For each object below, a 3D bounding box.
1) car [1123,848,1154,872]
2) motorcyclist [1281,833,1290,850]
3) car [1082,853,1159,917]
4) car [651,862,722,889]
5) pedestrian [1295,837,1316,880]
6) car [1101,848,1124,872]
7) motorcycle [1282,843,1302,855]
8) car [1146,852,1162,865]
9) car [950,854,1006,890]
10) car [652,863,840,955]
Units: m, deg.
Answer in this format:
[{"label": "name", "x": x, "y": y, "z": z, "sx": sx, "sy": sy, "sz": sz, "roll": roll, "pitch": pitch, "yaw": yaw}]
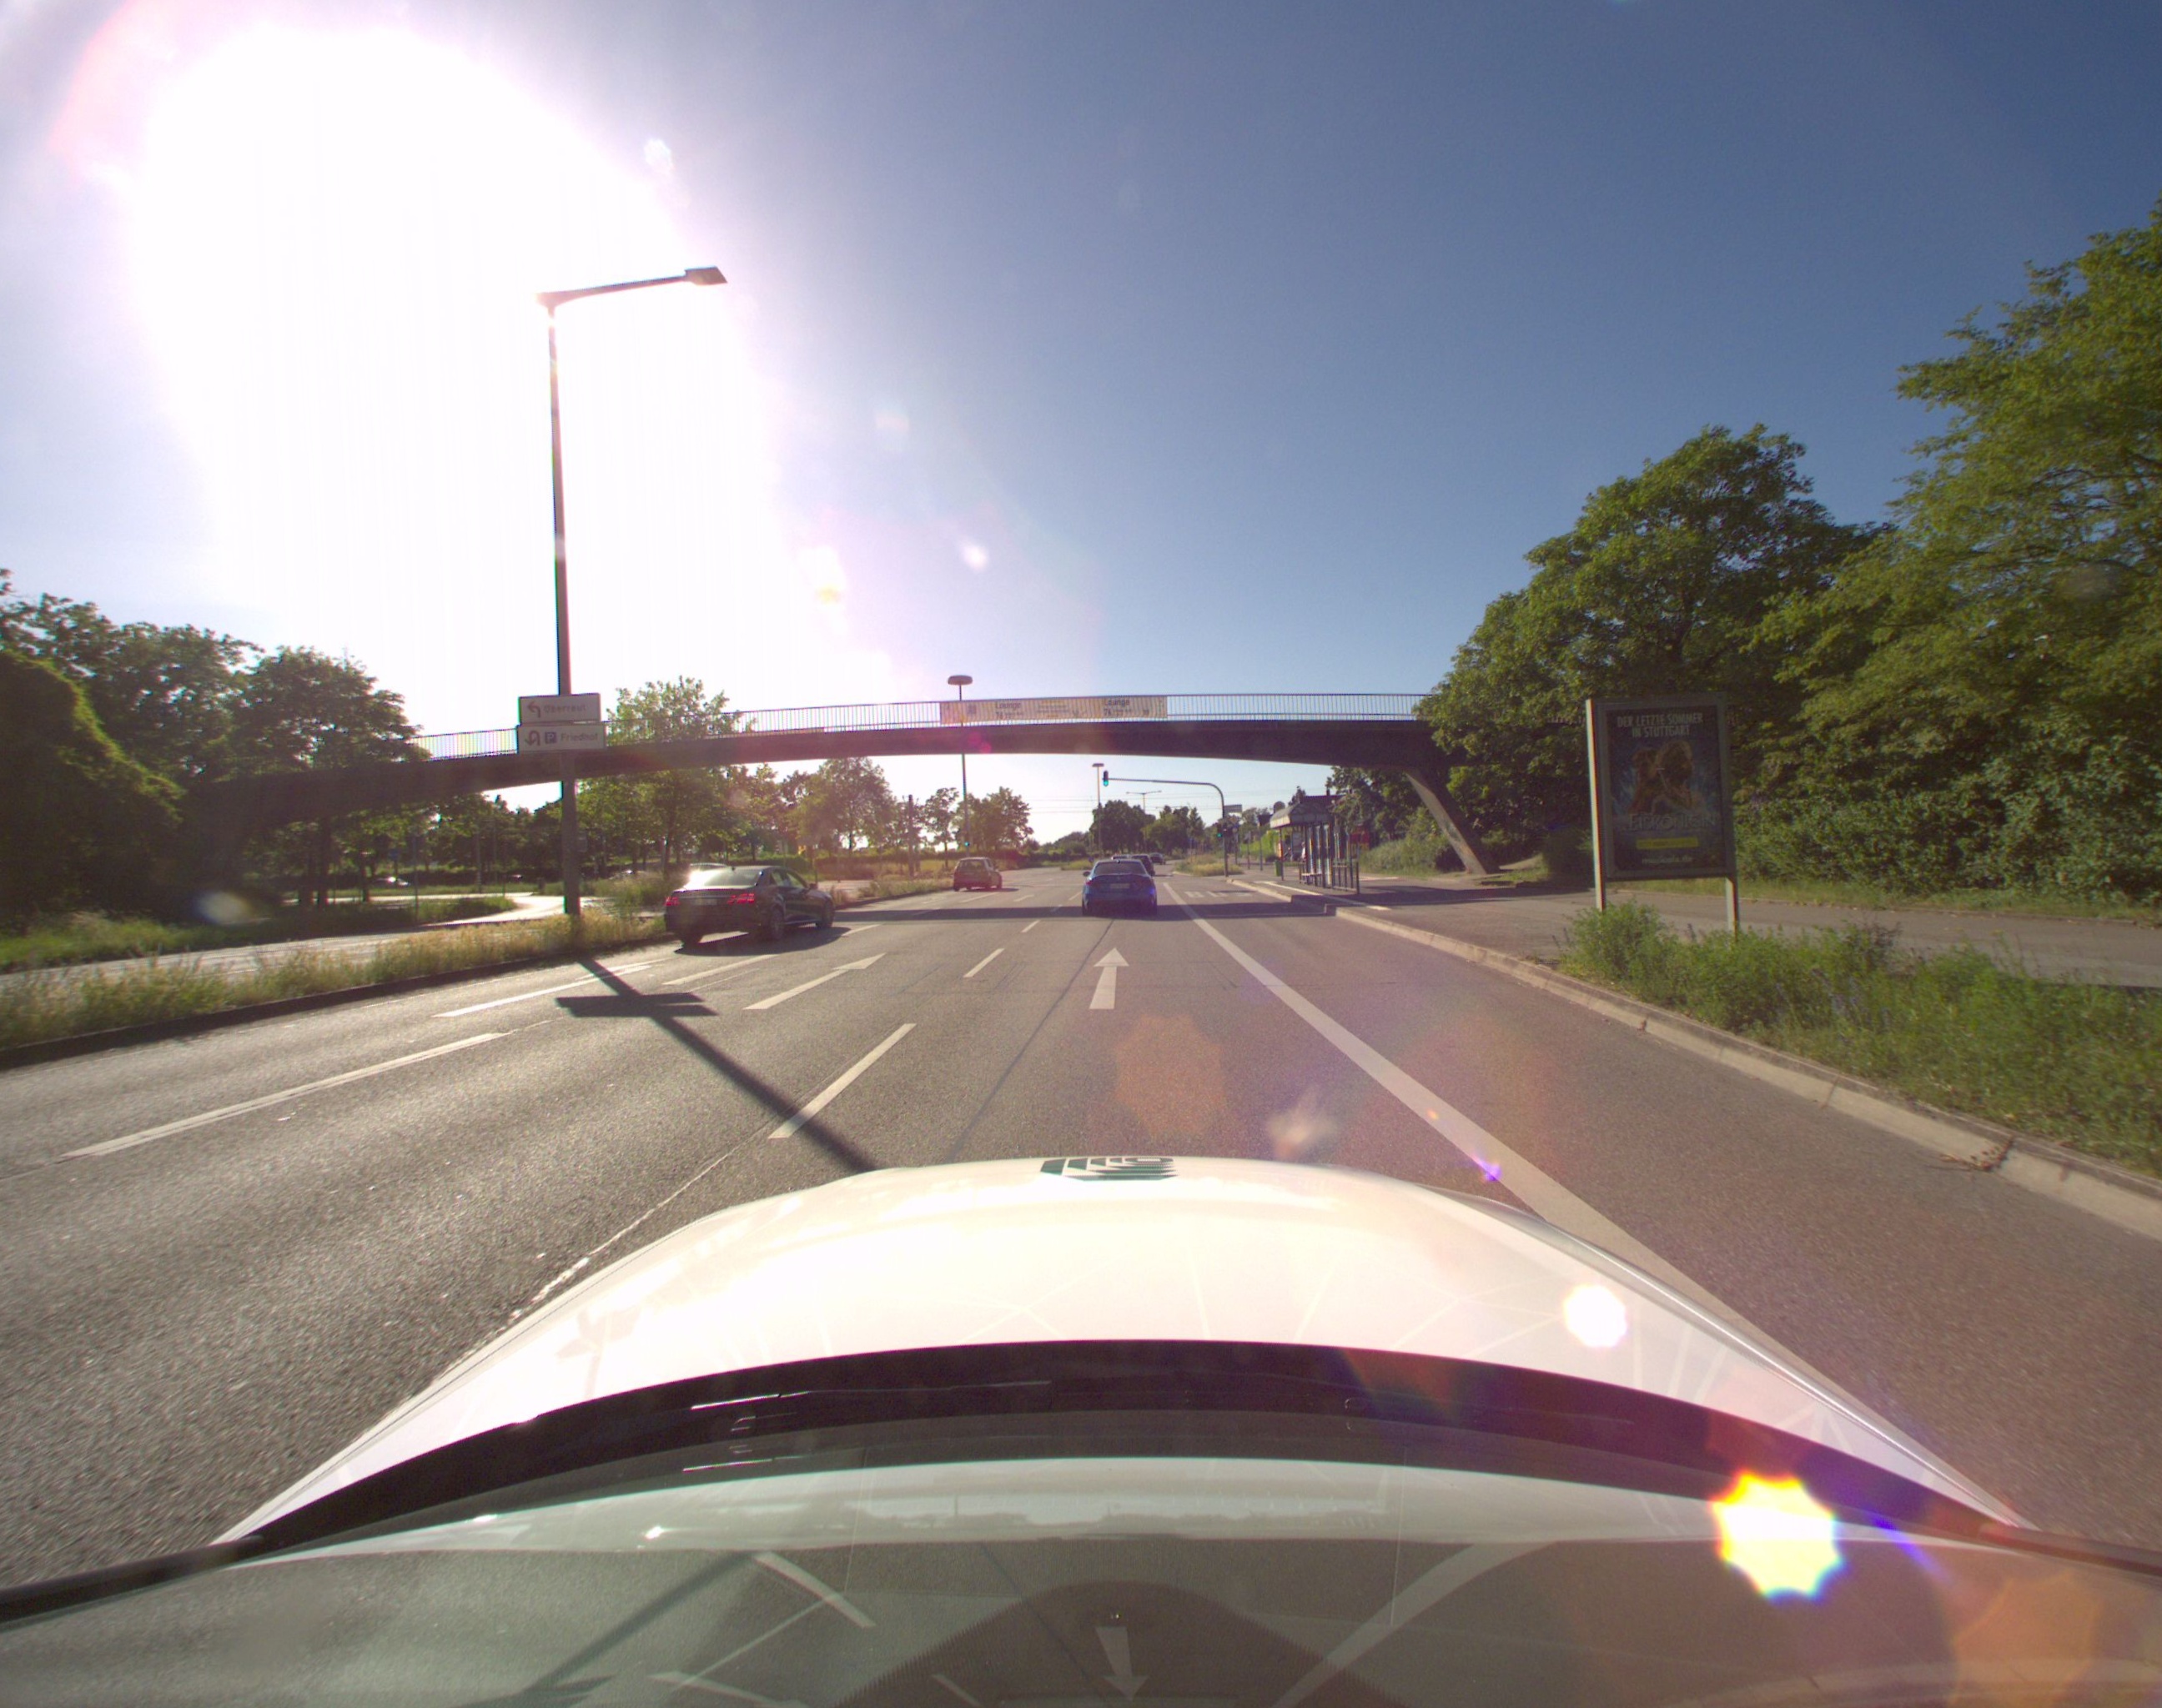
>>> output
[{"label": "car", "x": 4.013, "y": 0.380, "z": 56.252, "sx": 1.905, "sy": 1.579, "sz": 4.191, "roll": -1, "pitch": 0, "yaw": 7}, {"label": "motorcyclist", "x": 19.087, "y": -1.129, "z": 76.025, "sx": 0.689, "sy": 1.558, "sz": 0.702, "roll": -3, "pitch": 0, "yaw": 10}, {"label": "car", "x": 1.086, "y": 0.755, "z": 21.862, "sx": 1.830, "sy": 1.474, "sz": 4.188, "roll": -1, "pitch": 0, "yaw": 3}, {"label": "car", "x": -27.246, "y": 1.458, "z": 56.290, "sx": 3.971, "sy": 1.754, "sz": 1.779, "roll": -1, "pitch": 0, "yaw": 2}, {"label": "pedestrian", "x": 8.958, "y": 0.187, "z": 32.563, "sx": 0.585, "sy": 1.662, "sz": 0.717, "roll": -3, "pitch": 0, "yaw": 1}, {"label": "car", "x": 2.796, "y": 0.526, "z": 71.705, "sx": 1.784, "sy": 2.013, "sz": 4.007, "roll": -1, "pitch": 0, "yaw": 6}, {"label": "motorcycle", "x": 19.658, "y": -0.493, "z": 75.951, "sx": 1.745, "sy": 1.071, "sz": 0.453, "roll": -3, "pitch": 0, "yaw": 10}, {"label": "car", "x": 9.110, "y": 0.580, "z": 101.716, "sx": 1.650, "sy": 1.579, "sz": 3.820, "roll": -1, "pitch": 0, "yaw": 10}, {"label": "car", "x": -4.966, "y": 0.832, "z": 39.759, "sx": 1.834, "sy": 1.570, "sz": 4.391, "roll": -3, "pitch": 0, "yaw": 4}, {"label": "car", "x": -6.684, "y": 1.015, "z": 16.865, "sx": 1.767, "sy": 1.486, "sz": 4.533, "roll": -3, "pitch": 0, "yaw": 3}]
